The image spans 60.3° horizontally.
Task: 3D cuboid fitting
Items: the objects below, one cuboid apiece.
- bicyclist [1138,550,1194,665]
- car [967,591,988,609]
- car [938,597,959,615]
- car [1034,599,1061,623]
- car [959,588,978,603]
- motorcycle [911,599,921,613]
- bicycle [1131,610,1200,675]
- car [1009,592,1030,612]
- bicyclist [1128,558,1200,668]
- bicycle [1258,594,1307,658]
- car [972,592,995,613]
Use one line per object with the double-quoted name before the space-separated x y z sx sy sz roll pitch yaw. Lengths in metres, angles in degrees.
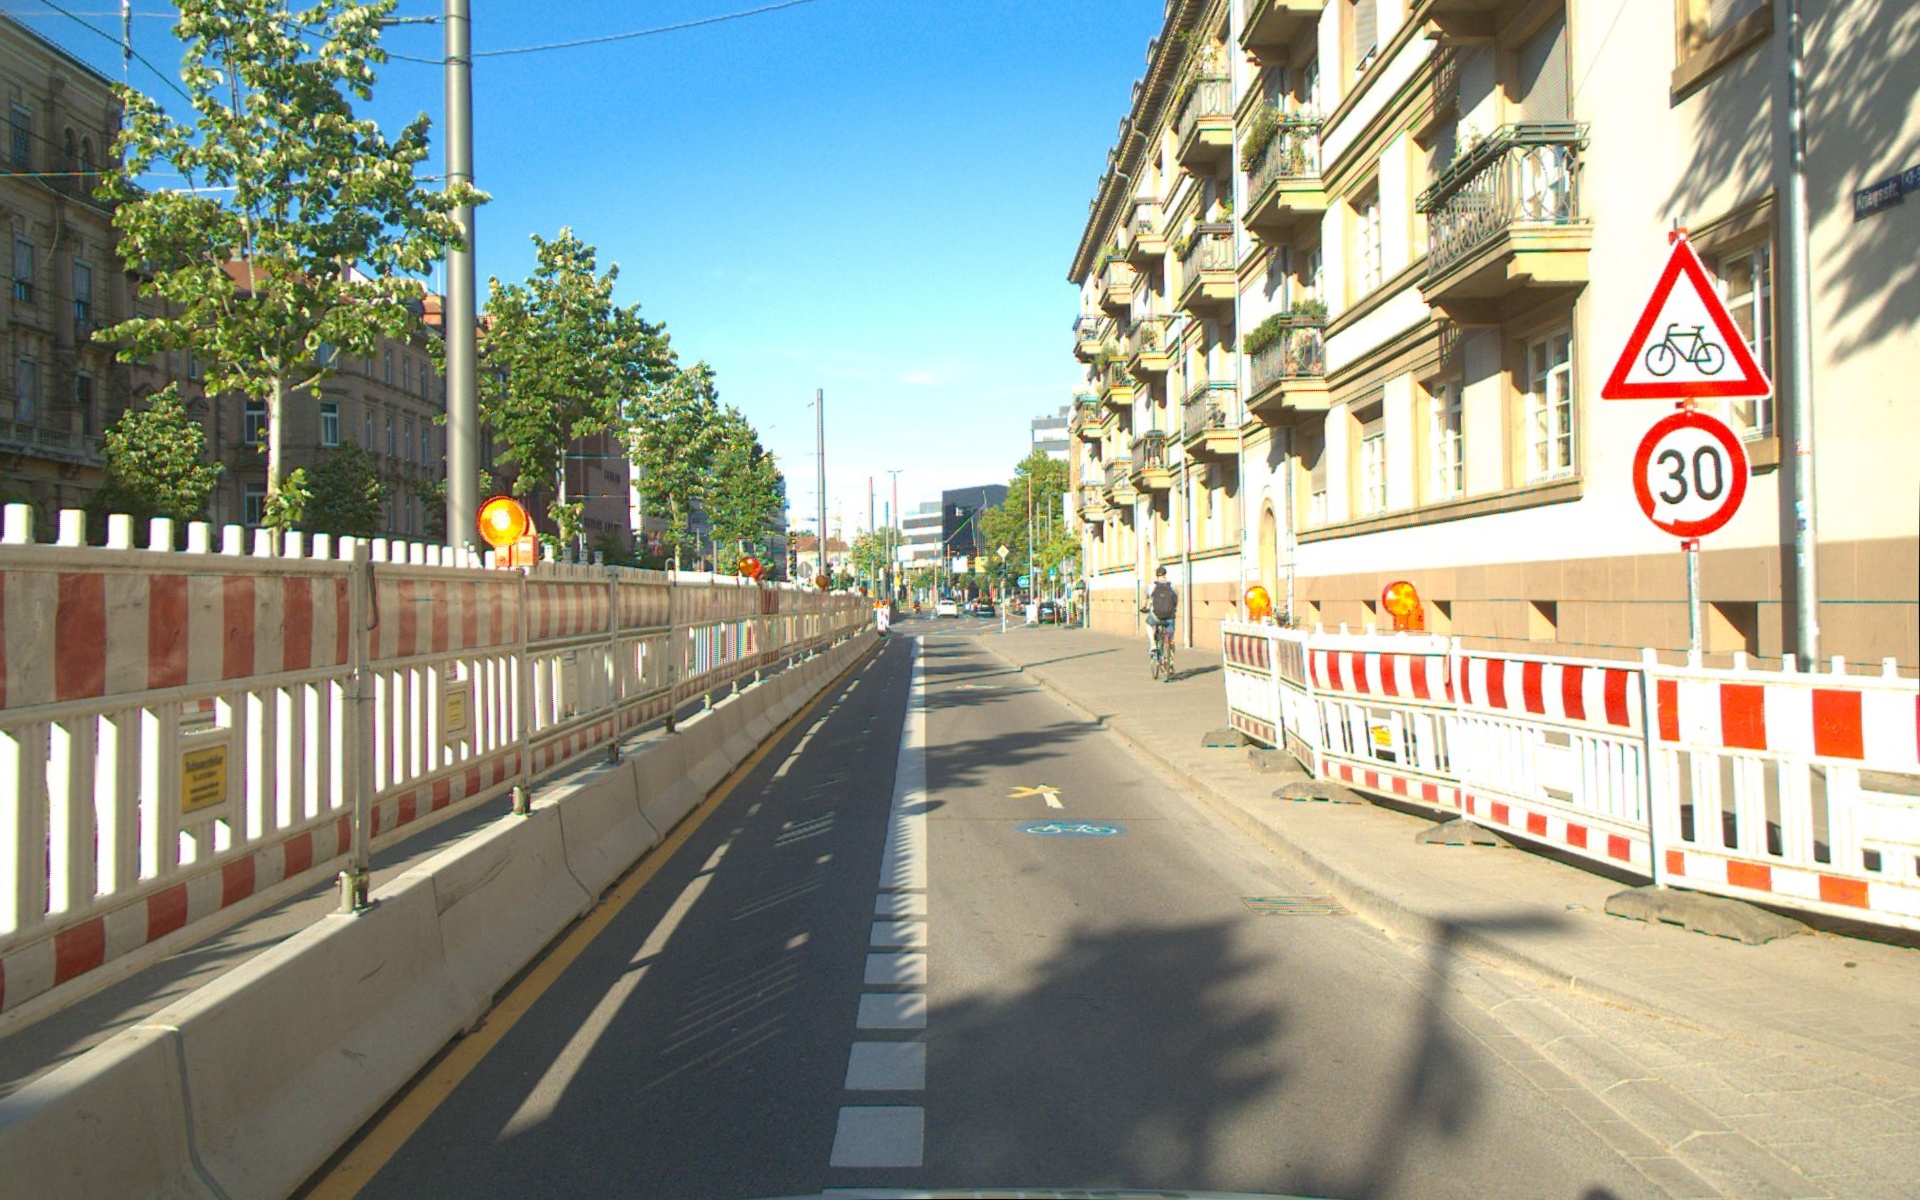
"bicyclist" 3.293 0.115 26.516 0.718 1.794 0.937 -1 0 -2
"car" 1.614 0.008 156.236 1.813 1.668 4.377 0 0 -1
"car" -1.037 0.520 142.473 1.744 1.439 4.817 1 0 -1
"car" 6.328 0.762 119.482 1.684 1.665 4.234 -2 0 5
"car" 0.901 -0.498 173.277 1.813 1.524 4.378 -2 1 -1
"motorcycle" -4.477 0.600 168.406 0.998 1.335 2.914 1 0 0
"bicycle" 3.287 0.661 26.601 0.752 0.969 2.197 -1 0 -2
"car" 5.786 0.191 160.559 1.809 1.587 4.634 1 3 0
"bicyclist" 3.250 0.203 26.434 0.972 1.695 1.013 -2 0 -1
"bicycle" 5.849 0.454 30.102 0.409 1.114 2.197 -1 0 -1
"car" 2.120 0.225 148.446 1.935 1.790 4.632 1 0 0
